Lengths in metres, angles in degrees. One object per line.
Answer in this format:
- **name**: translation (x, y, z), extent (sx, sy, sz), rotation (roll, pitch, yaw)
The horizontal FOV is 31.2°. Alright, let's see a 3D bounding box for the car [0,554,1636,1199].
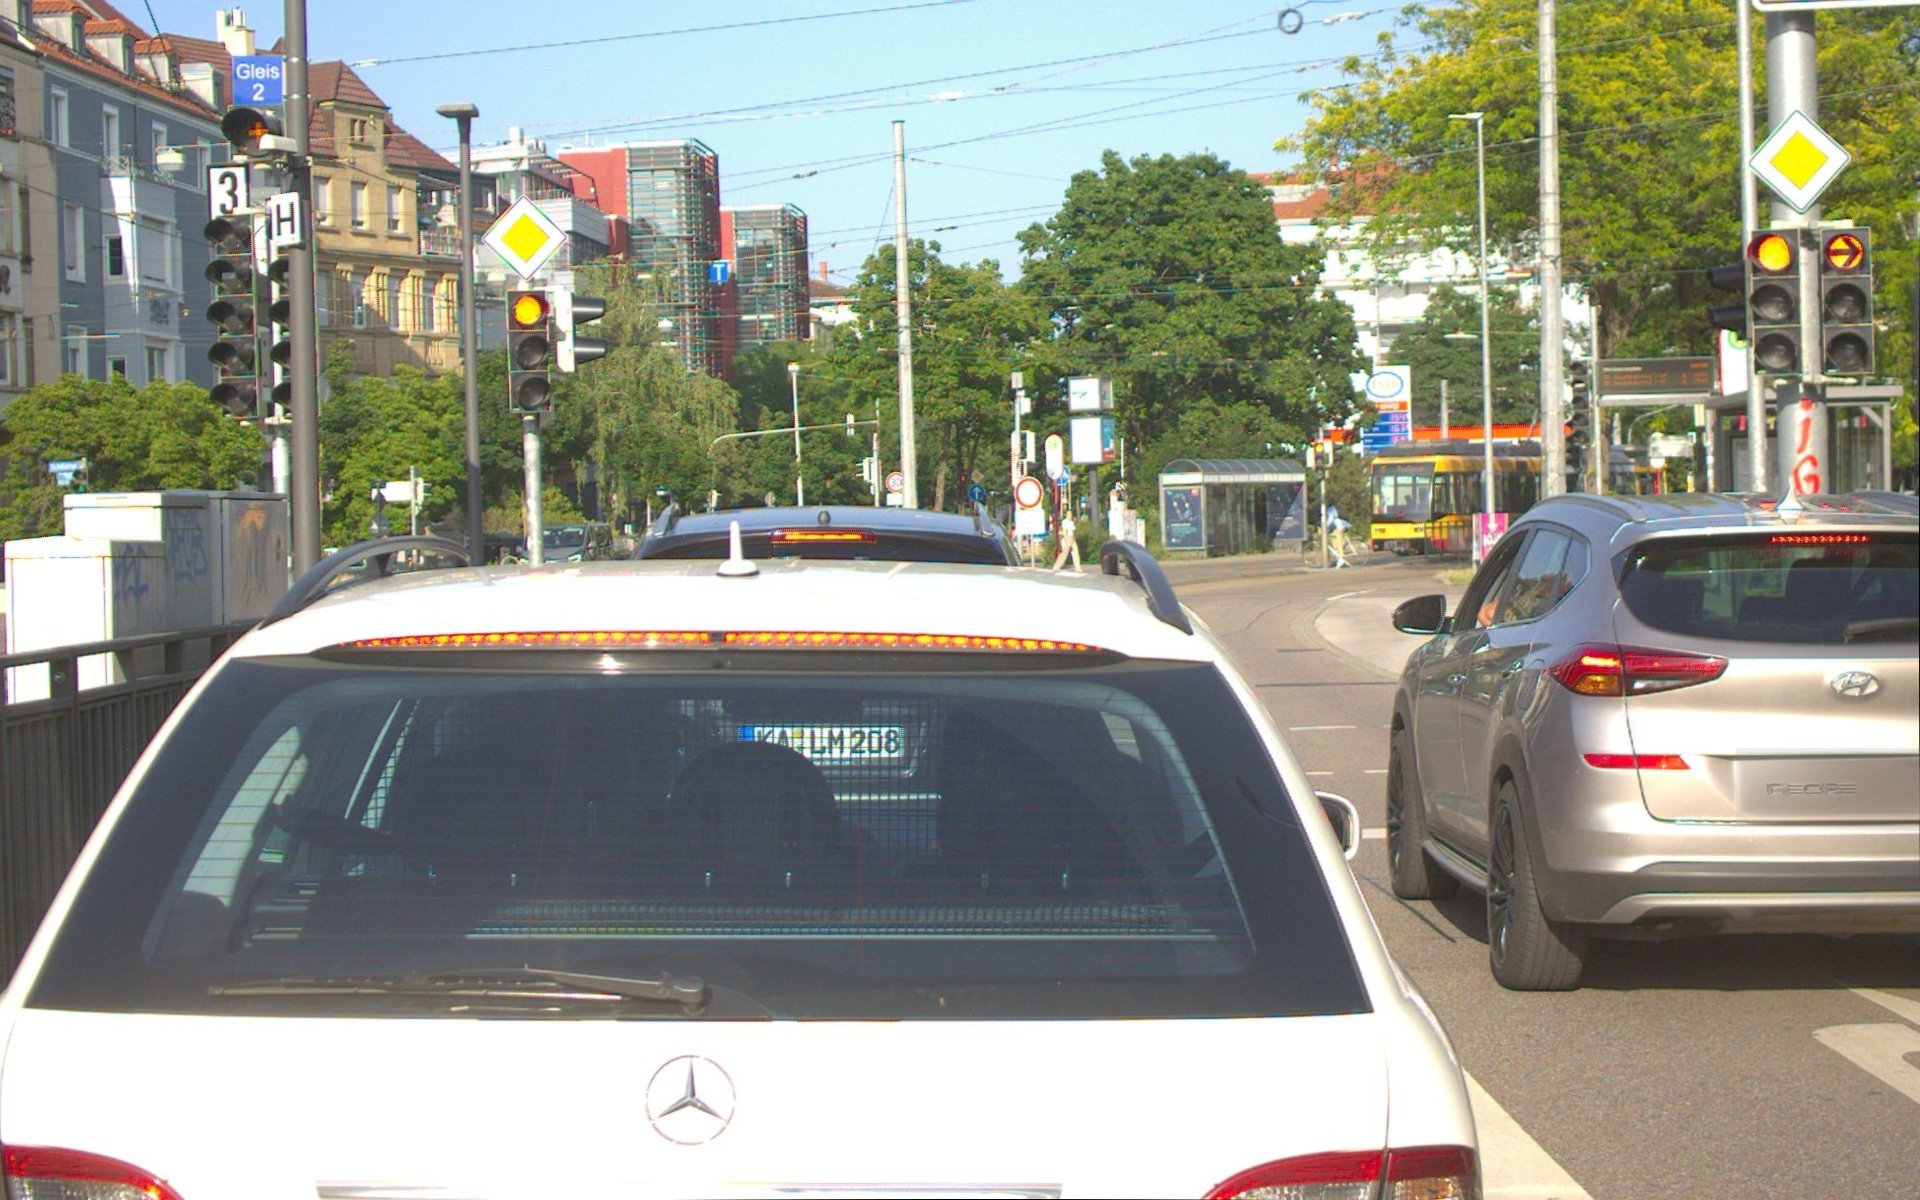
- **car**: translation (-0.307, 0.680, 4.984), extent (1.796, 1.465, 3.648), rotation (0, 1, -1)

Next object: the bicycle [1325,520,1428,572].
- **bicycle**: translation (10.286, -1.325, 84.944), extent (2.483, 1.209, 0.806), rotation (-1, 1, 8)

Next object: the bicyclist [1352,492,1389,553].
- **bicyclist**: translation (10.148, -1.908, 84.939), extent (0.861, 1.476, 0.789), rotation (-1, 1, 9)

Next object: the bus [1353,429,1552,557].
- **bus**: translation (15.080, -3.143, 104.295), extent (3.112, 3.593, 12.361), rotation (1, 1, 22)

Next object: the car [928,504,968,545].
- **car**: translation (-0.605, -3.841, 175.172), extent (1.993, 2.007, 4.000), rotation (1, 1, -1)

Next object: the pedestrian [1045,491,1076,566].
- **pedestrian**: translation (2.526, -1.803, 86.550), extent (0.642, 1.850, 0.551), rotation (-1, 1, 11)

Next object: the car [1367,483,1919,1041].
- **car**: translation (2.636, 0.439, 12.173), extent (1.885, 1.645, 3.648), rotation (-2, 1, 0)

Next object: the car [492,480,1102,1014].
- **car**: translation (-0.526, 0.421, 12.567), extent (1.885, 1.645, 3.648), rotation (1, 1, 0)
